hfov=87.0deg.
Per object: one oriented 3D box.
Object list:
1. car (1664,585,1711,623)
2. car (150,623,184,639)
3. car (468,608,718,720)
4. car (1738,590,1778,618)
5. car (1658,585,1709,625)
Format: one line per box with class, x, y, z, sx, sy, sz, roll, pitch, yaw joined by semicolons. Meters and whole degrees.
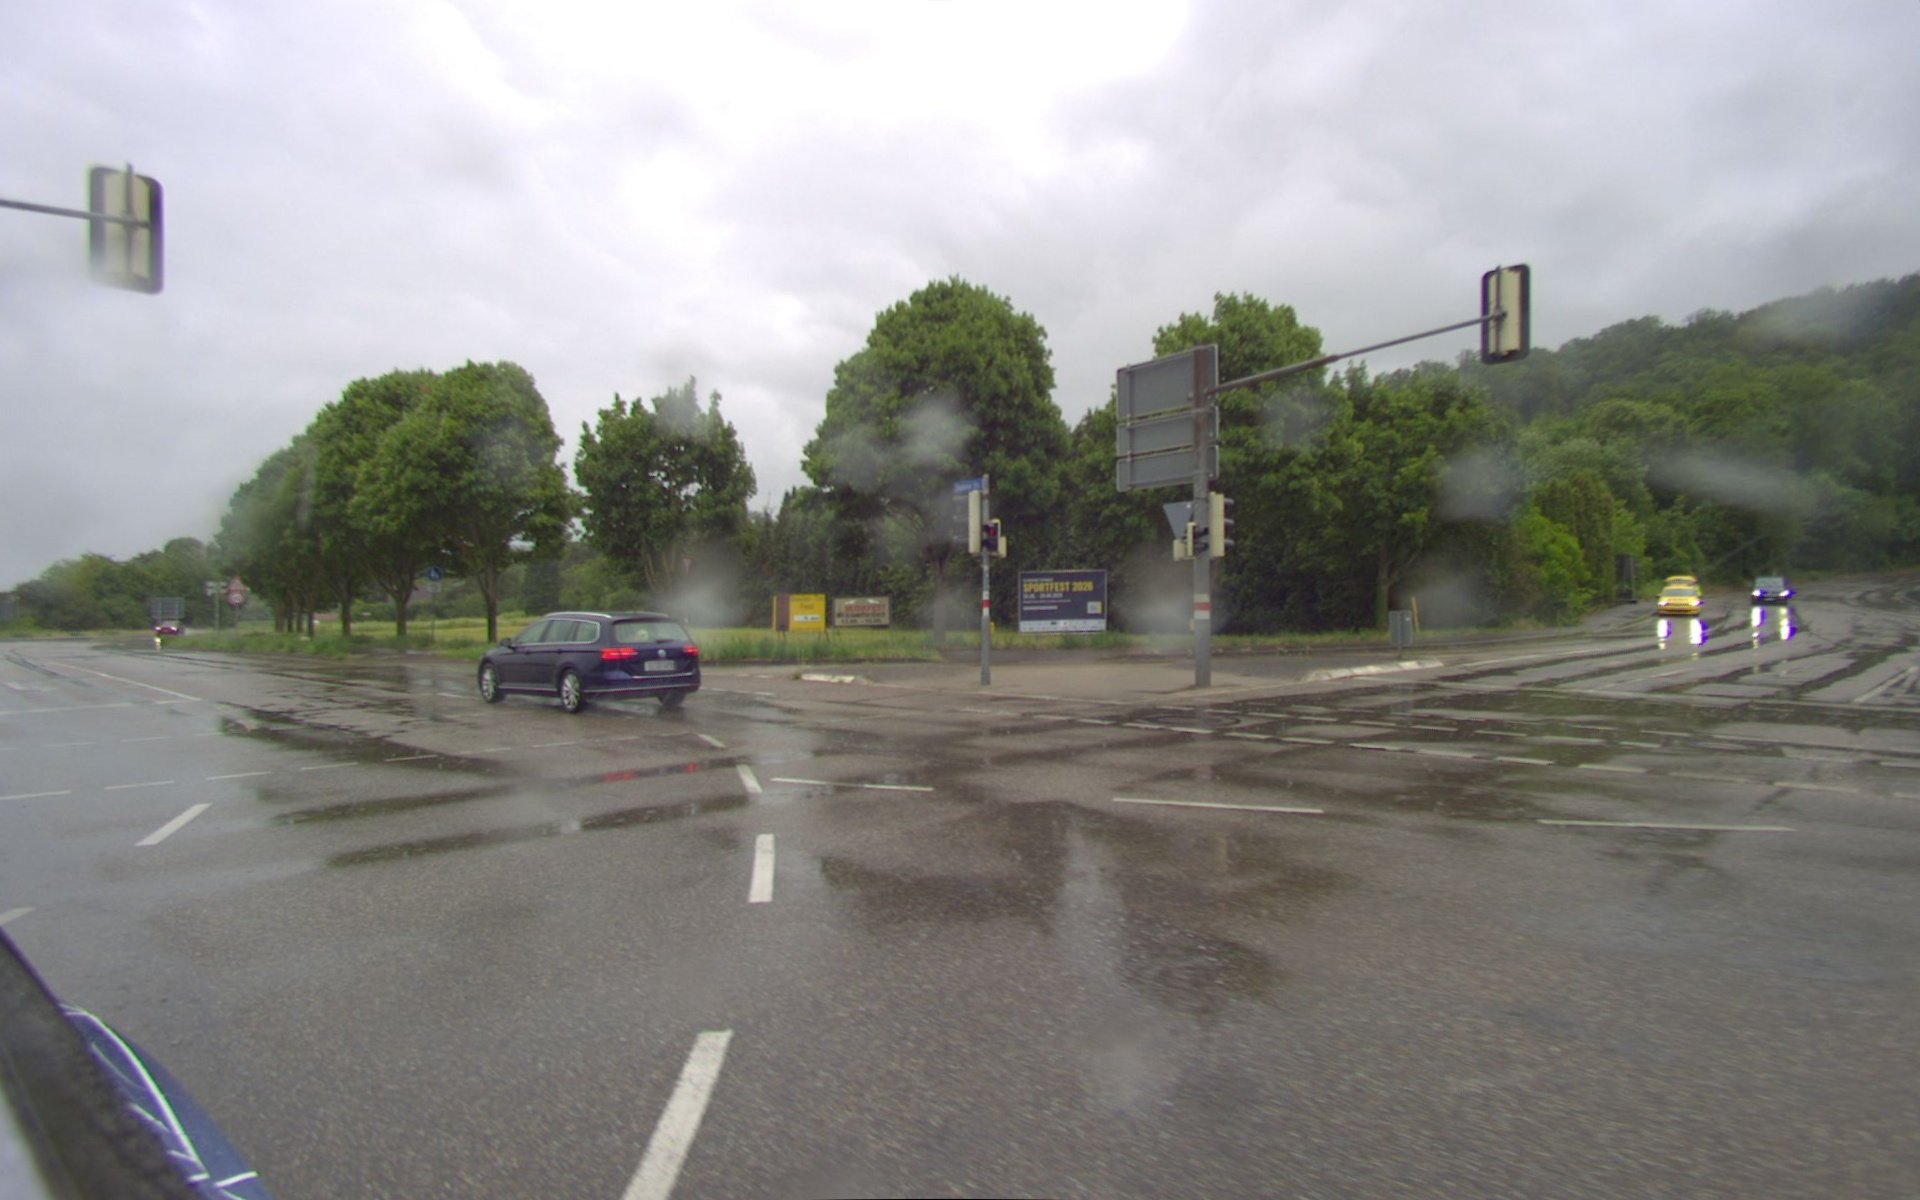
car;41.163;0.228;57.244;1.813;2.029;3.633;-1;-1;41
car;-90.128;3.457;115.059;1.884;1.701;4.116;-1;0;-21
car;-5.765;0.895;15.623;4.450;1.477;1.691;-1;0;41
car;52.935;0.254;67.118;1.832;1.829;3.945;-2;-1;41
car;38.580;0.249;53.956;1.813;2.042;3.632;-1;-1;42
